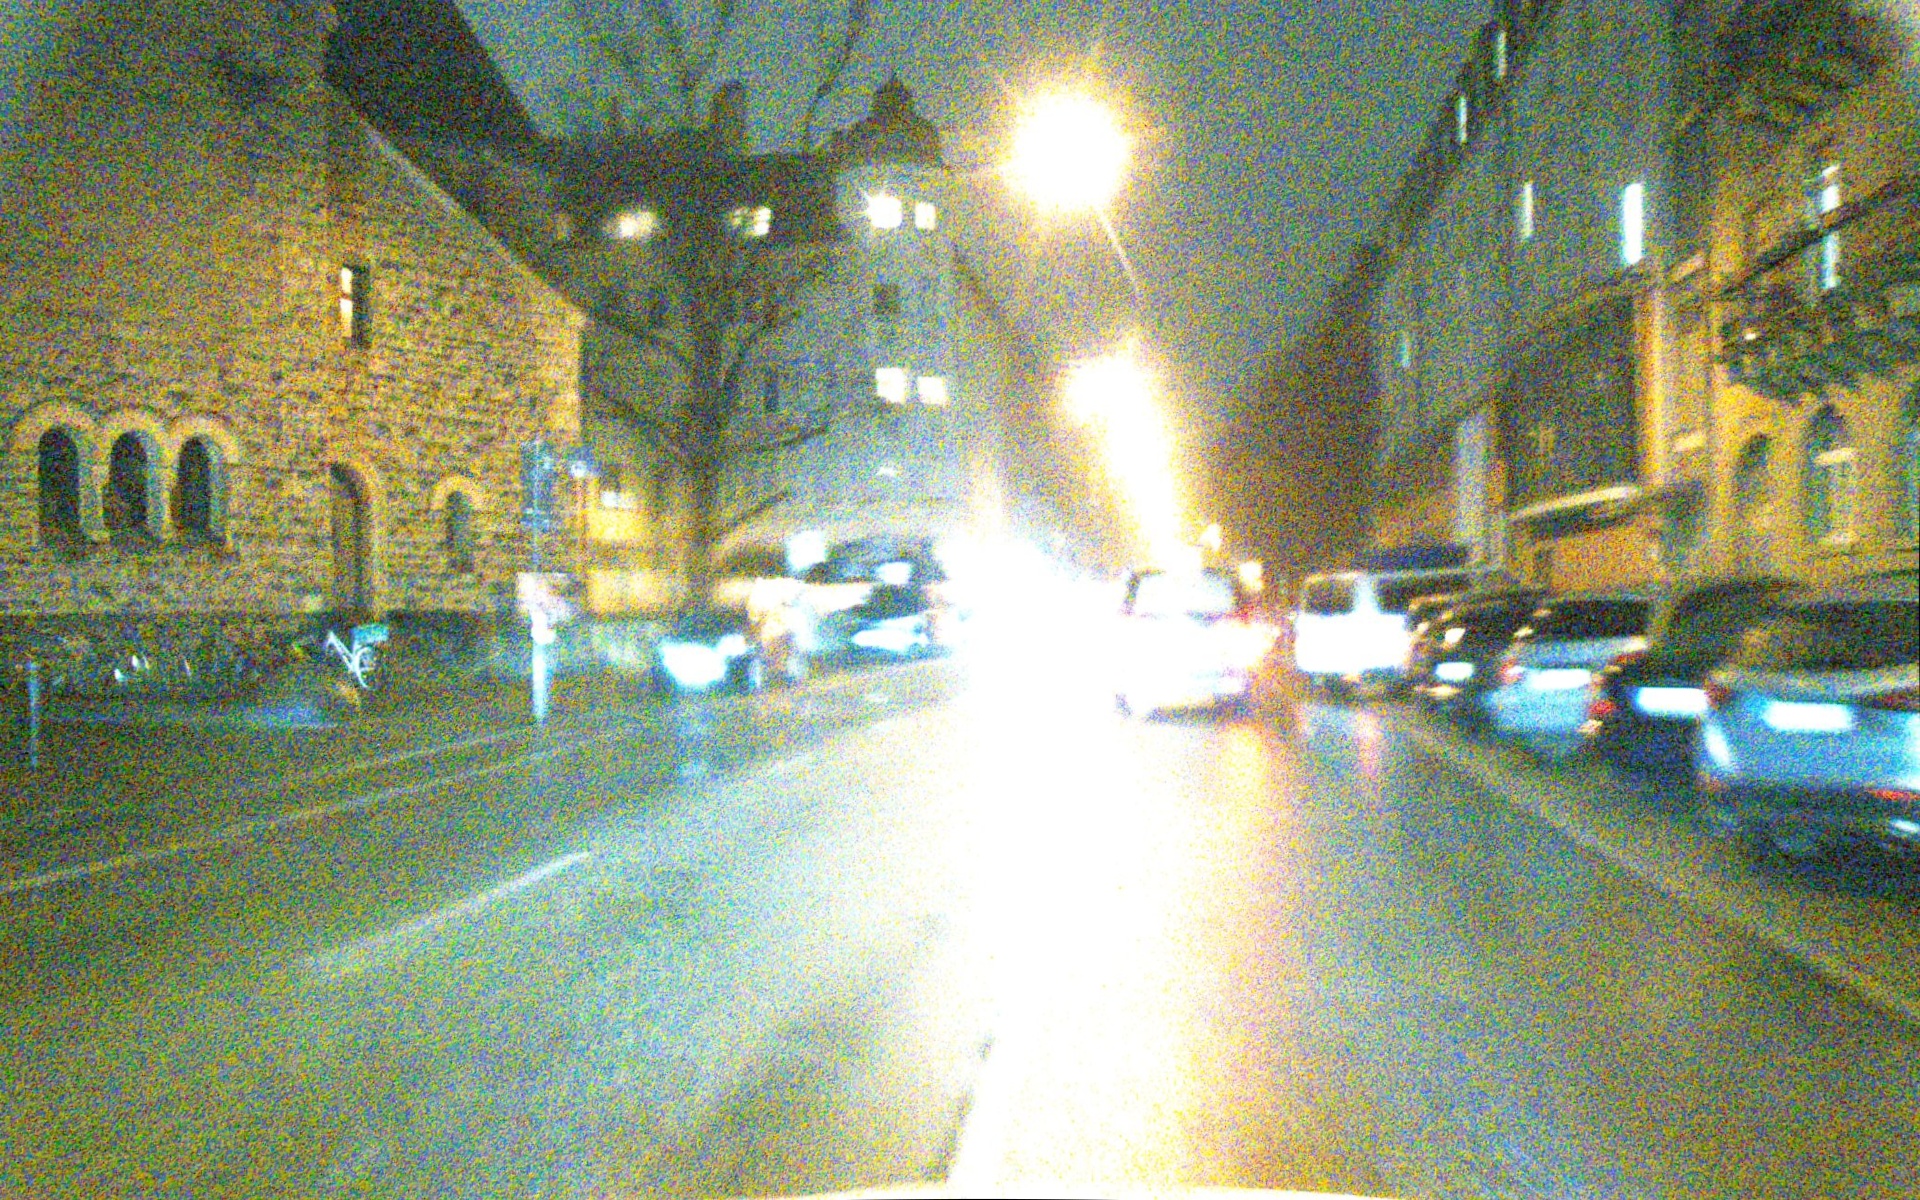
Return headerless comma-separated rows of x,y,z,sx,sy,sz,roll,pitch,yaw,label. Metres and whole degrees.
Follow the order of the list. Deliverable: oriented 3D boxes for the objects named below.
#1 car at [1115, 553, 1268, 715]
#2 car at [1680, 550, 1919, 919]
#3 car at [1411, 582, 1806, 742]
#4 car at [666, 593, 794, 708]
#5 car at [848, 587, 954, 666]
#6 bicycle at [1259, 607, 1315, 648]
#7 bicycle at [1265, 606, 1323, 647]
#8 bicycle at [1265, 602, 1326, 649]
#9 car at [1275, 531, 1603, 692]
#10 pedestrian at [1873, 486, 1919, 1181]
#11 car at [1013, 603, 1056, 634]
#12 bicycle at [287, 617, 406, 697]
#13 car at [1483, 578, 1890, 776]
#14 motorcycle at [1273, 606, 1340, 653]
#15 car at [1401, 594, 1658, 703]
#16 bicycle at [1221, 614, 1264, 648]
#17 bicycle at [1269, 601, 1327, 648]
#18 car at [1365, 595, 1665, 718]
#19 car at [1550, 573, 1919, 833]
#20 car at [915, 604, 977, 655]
3.277,0.462,23.420,1.951,2.086,4.003,0,-1,8,car
5.997,0.608,8.904,3.738,1.719,1.823,-1,0,-23,car
7.183,0.631,18.343,3.982,1.588,1.739,-1,0,-22,car
-3.812,0.743,26.865,1.780,1.699,4.398,0,0,-12,car
-1.438,0.651,42.300,1.826,1.878,4.831,-1,0,9,car
9.562,0.796,48.367,1.562,1.178,0.418,-1,-1,4,bicycle
9.582,0.760,47.413,1.562,1.131,0.418,-2,0,4,bicycle
9.303,0.708,45.914,1.628,1.256,0.386,-2,0,10,bicycle
7.705,0.154,26.585,4.866,2.382,2.212,-1,0,-27,car
2.837,0.603,3.893,0.804,1.801,1.178,-1,0,7,pedestrian
3.521,0.857,77.277,1.619,1.383,4.225,0,0,8,car
-9.520,0.873,25.655,1.925,1.201,0.541,-1,-1,26,bicycle
6.587,0.622,14.962,3.460,1.588,1.580,-1,0,-28,car
9.186,0.782,43.846,1.599,1.143,0.653,-3,0,1,motorcycle
8.379,0.676,24.356,3.397,1.494,1.618,0,0,-23,car
8.071,0.881,47.321,1.185,0.964,0.302,-1,-1,4,bicycle
9.472,0.689,46.414,1.546,1.256,0.418,-2,0,10,bicycle
7.359,0.705,21.923,3.669,1.494,1.601,-1,0,-24,car
5.958,0.623,11.683,3.350,1.588,1.579,-1,0,-30,car
-0.390,0.888,51.401,1.514,1.468,3.565,2,0,6,car
